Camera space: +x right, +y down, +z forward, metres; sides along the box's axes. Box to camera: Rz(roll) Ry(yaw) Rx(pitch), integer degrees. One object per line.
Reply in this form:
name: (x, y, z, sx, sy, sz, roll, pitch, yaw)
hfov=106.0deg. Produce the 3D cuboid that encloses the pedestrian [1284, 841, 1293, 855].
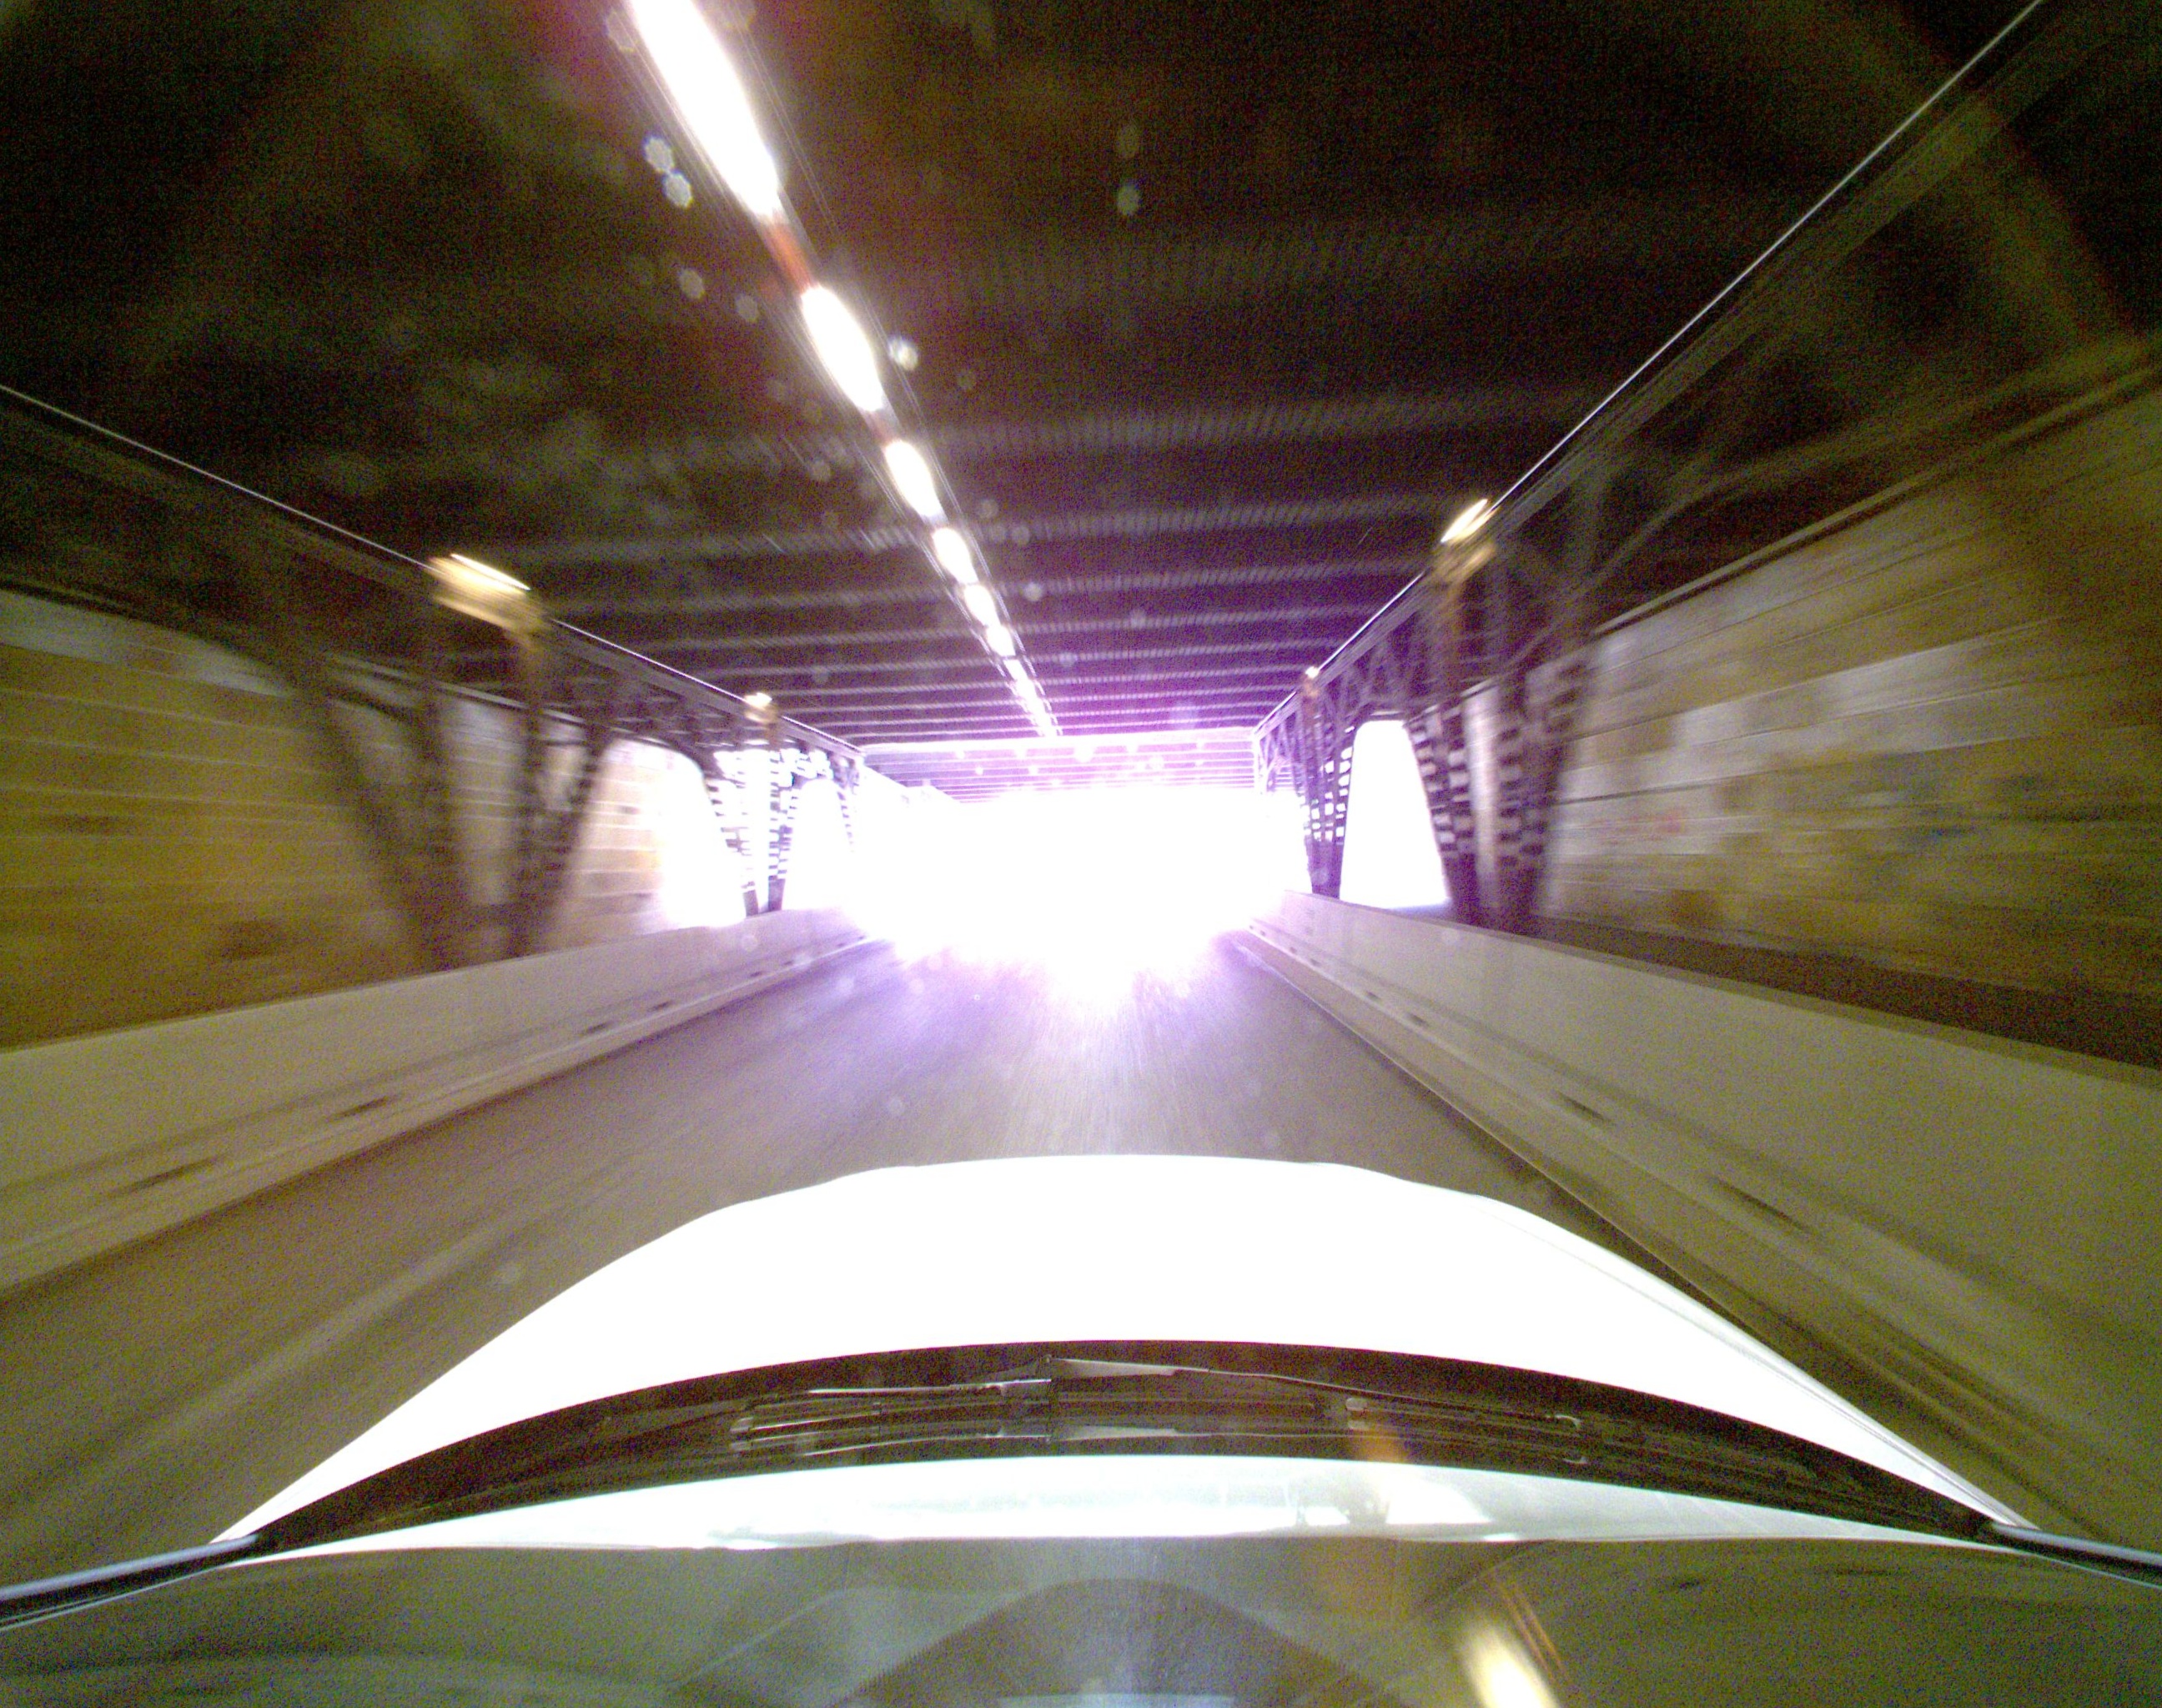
pedestrian: (23.989, -0.685, 94.232, 0.698, 1.674, 0.613, -1, 0, -19)

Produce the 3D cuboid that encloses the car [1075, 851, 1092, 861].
car: (0.345, 0.272, 109.737, 1.701, 1.245, 4.419, -2, 0, 6)

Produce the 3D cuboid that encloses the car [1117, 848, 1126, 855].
car: (8.465, -0.554, 170.401, 1.703, 1.354, 4.001, -2, 0, 1)

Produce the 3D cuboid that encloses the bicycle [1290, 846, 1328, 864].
bicycle: (12.906, 0.079, 46.123, 1.938, 0.904, 0.507, -3, -1, 0)

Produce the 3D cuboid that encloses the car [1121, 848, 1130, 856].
car: (8.477, -0.432, 155.466, 1.703, 1.354, 4.001, -2, 0, 1)

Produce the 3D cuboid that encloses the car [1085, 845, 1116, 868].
car: (1.541, 0.186, 63.400, 1.815, 1.653, 4.224, -3, 0, 8)

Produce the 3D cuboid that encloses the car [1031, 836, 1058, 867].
car: (-3.194, -0.192, 71.807, 1.961, 2.606, 5.931, -1, 0, 1)
